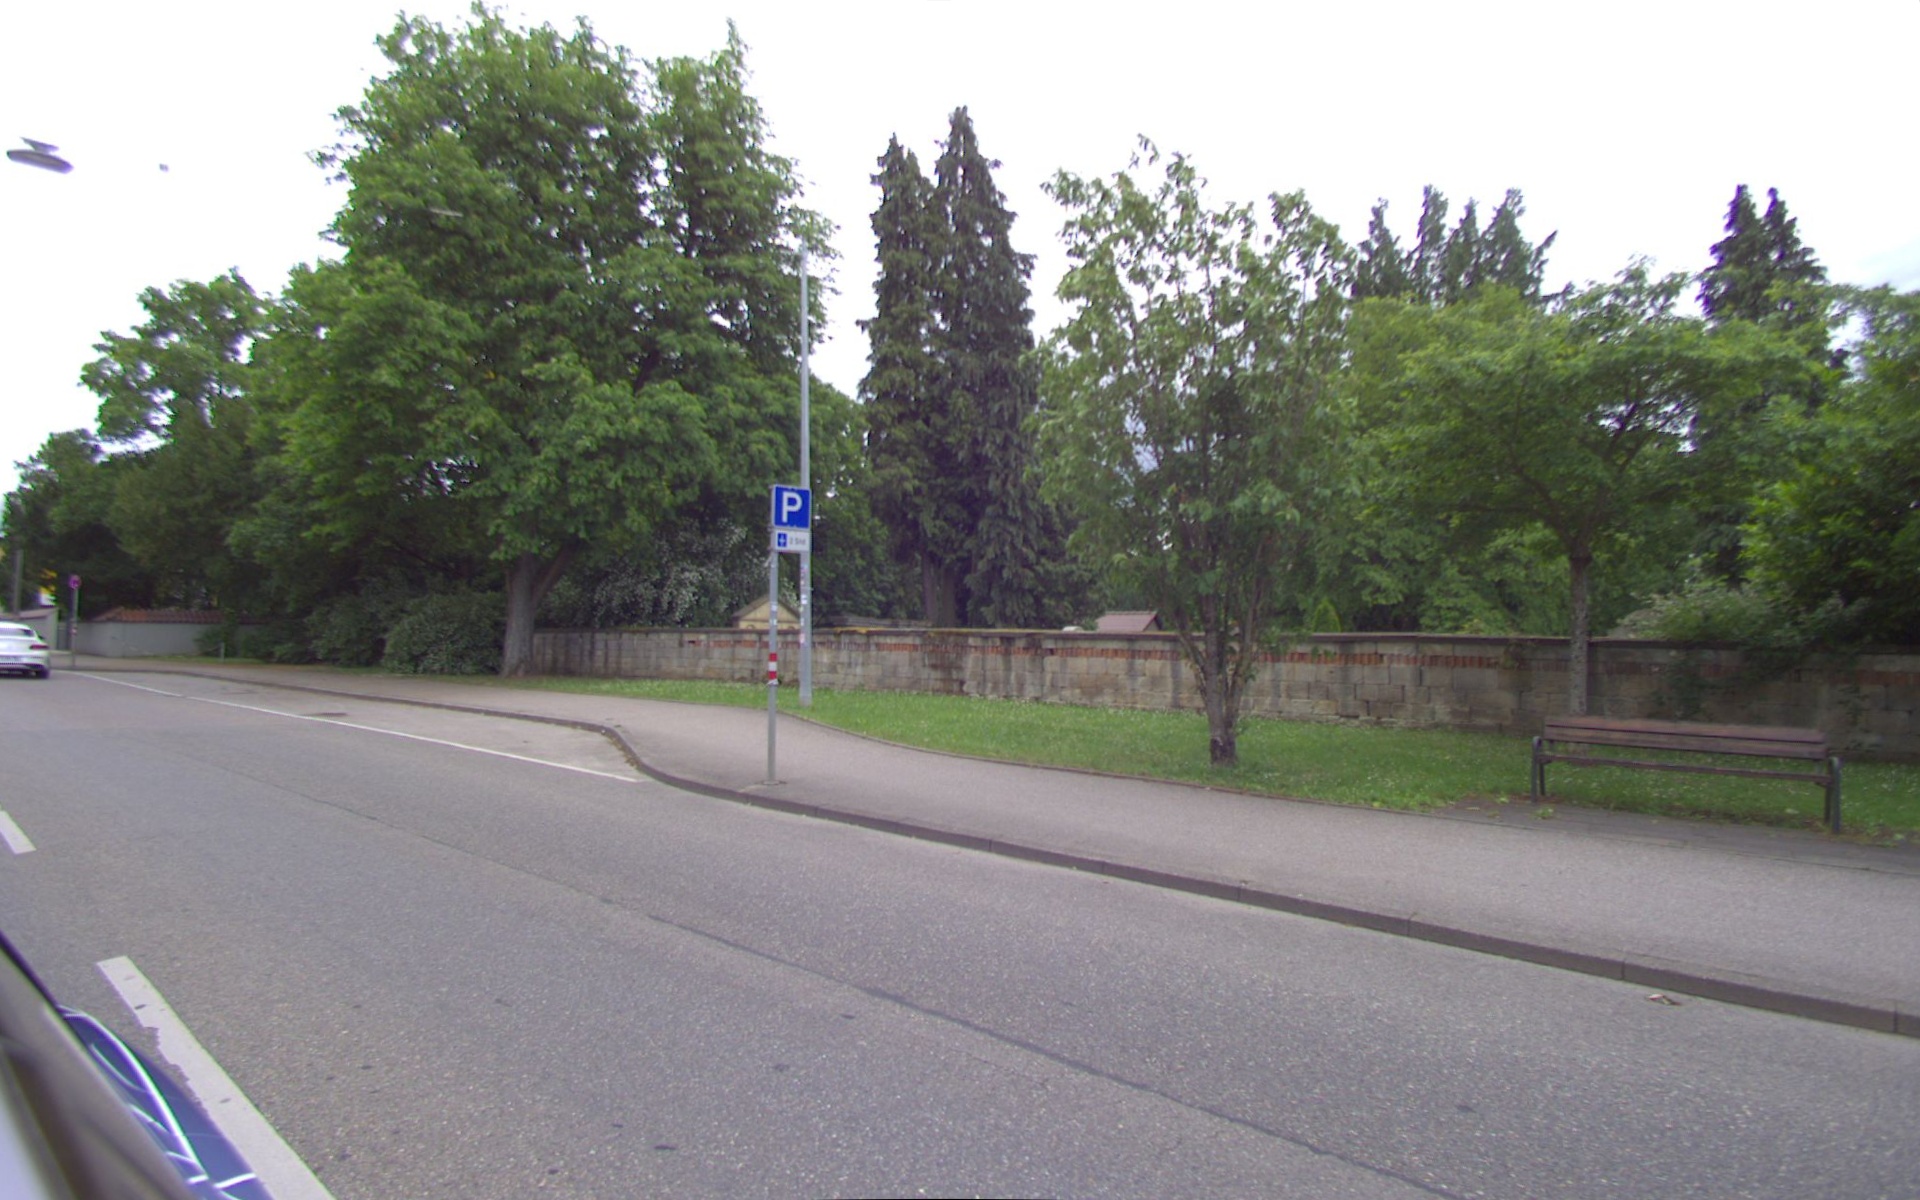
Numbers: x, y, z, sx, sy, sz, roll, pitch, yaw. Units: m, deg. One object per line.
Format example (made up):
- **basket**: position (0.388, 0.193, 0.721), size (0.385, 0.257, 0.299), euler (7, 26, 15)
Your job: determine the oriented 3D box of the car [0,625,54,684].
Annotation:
- **car**: position (-25.389, 1.357, 26.541), size (4.827, 1.430, 1.795), euler (-1, -5, 41)
